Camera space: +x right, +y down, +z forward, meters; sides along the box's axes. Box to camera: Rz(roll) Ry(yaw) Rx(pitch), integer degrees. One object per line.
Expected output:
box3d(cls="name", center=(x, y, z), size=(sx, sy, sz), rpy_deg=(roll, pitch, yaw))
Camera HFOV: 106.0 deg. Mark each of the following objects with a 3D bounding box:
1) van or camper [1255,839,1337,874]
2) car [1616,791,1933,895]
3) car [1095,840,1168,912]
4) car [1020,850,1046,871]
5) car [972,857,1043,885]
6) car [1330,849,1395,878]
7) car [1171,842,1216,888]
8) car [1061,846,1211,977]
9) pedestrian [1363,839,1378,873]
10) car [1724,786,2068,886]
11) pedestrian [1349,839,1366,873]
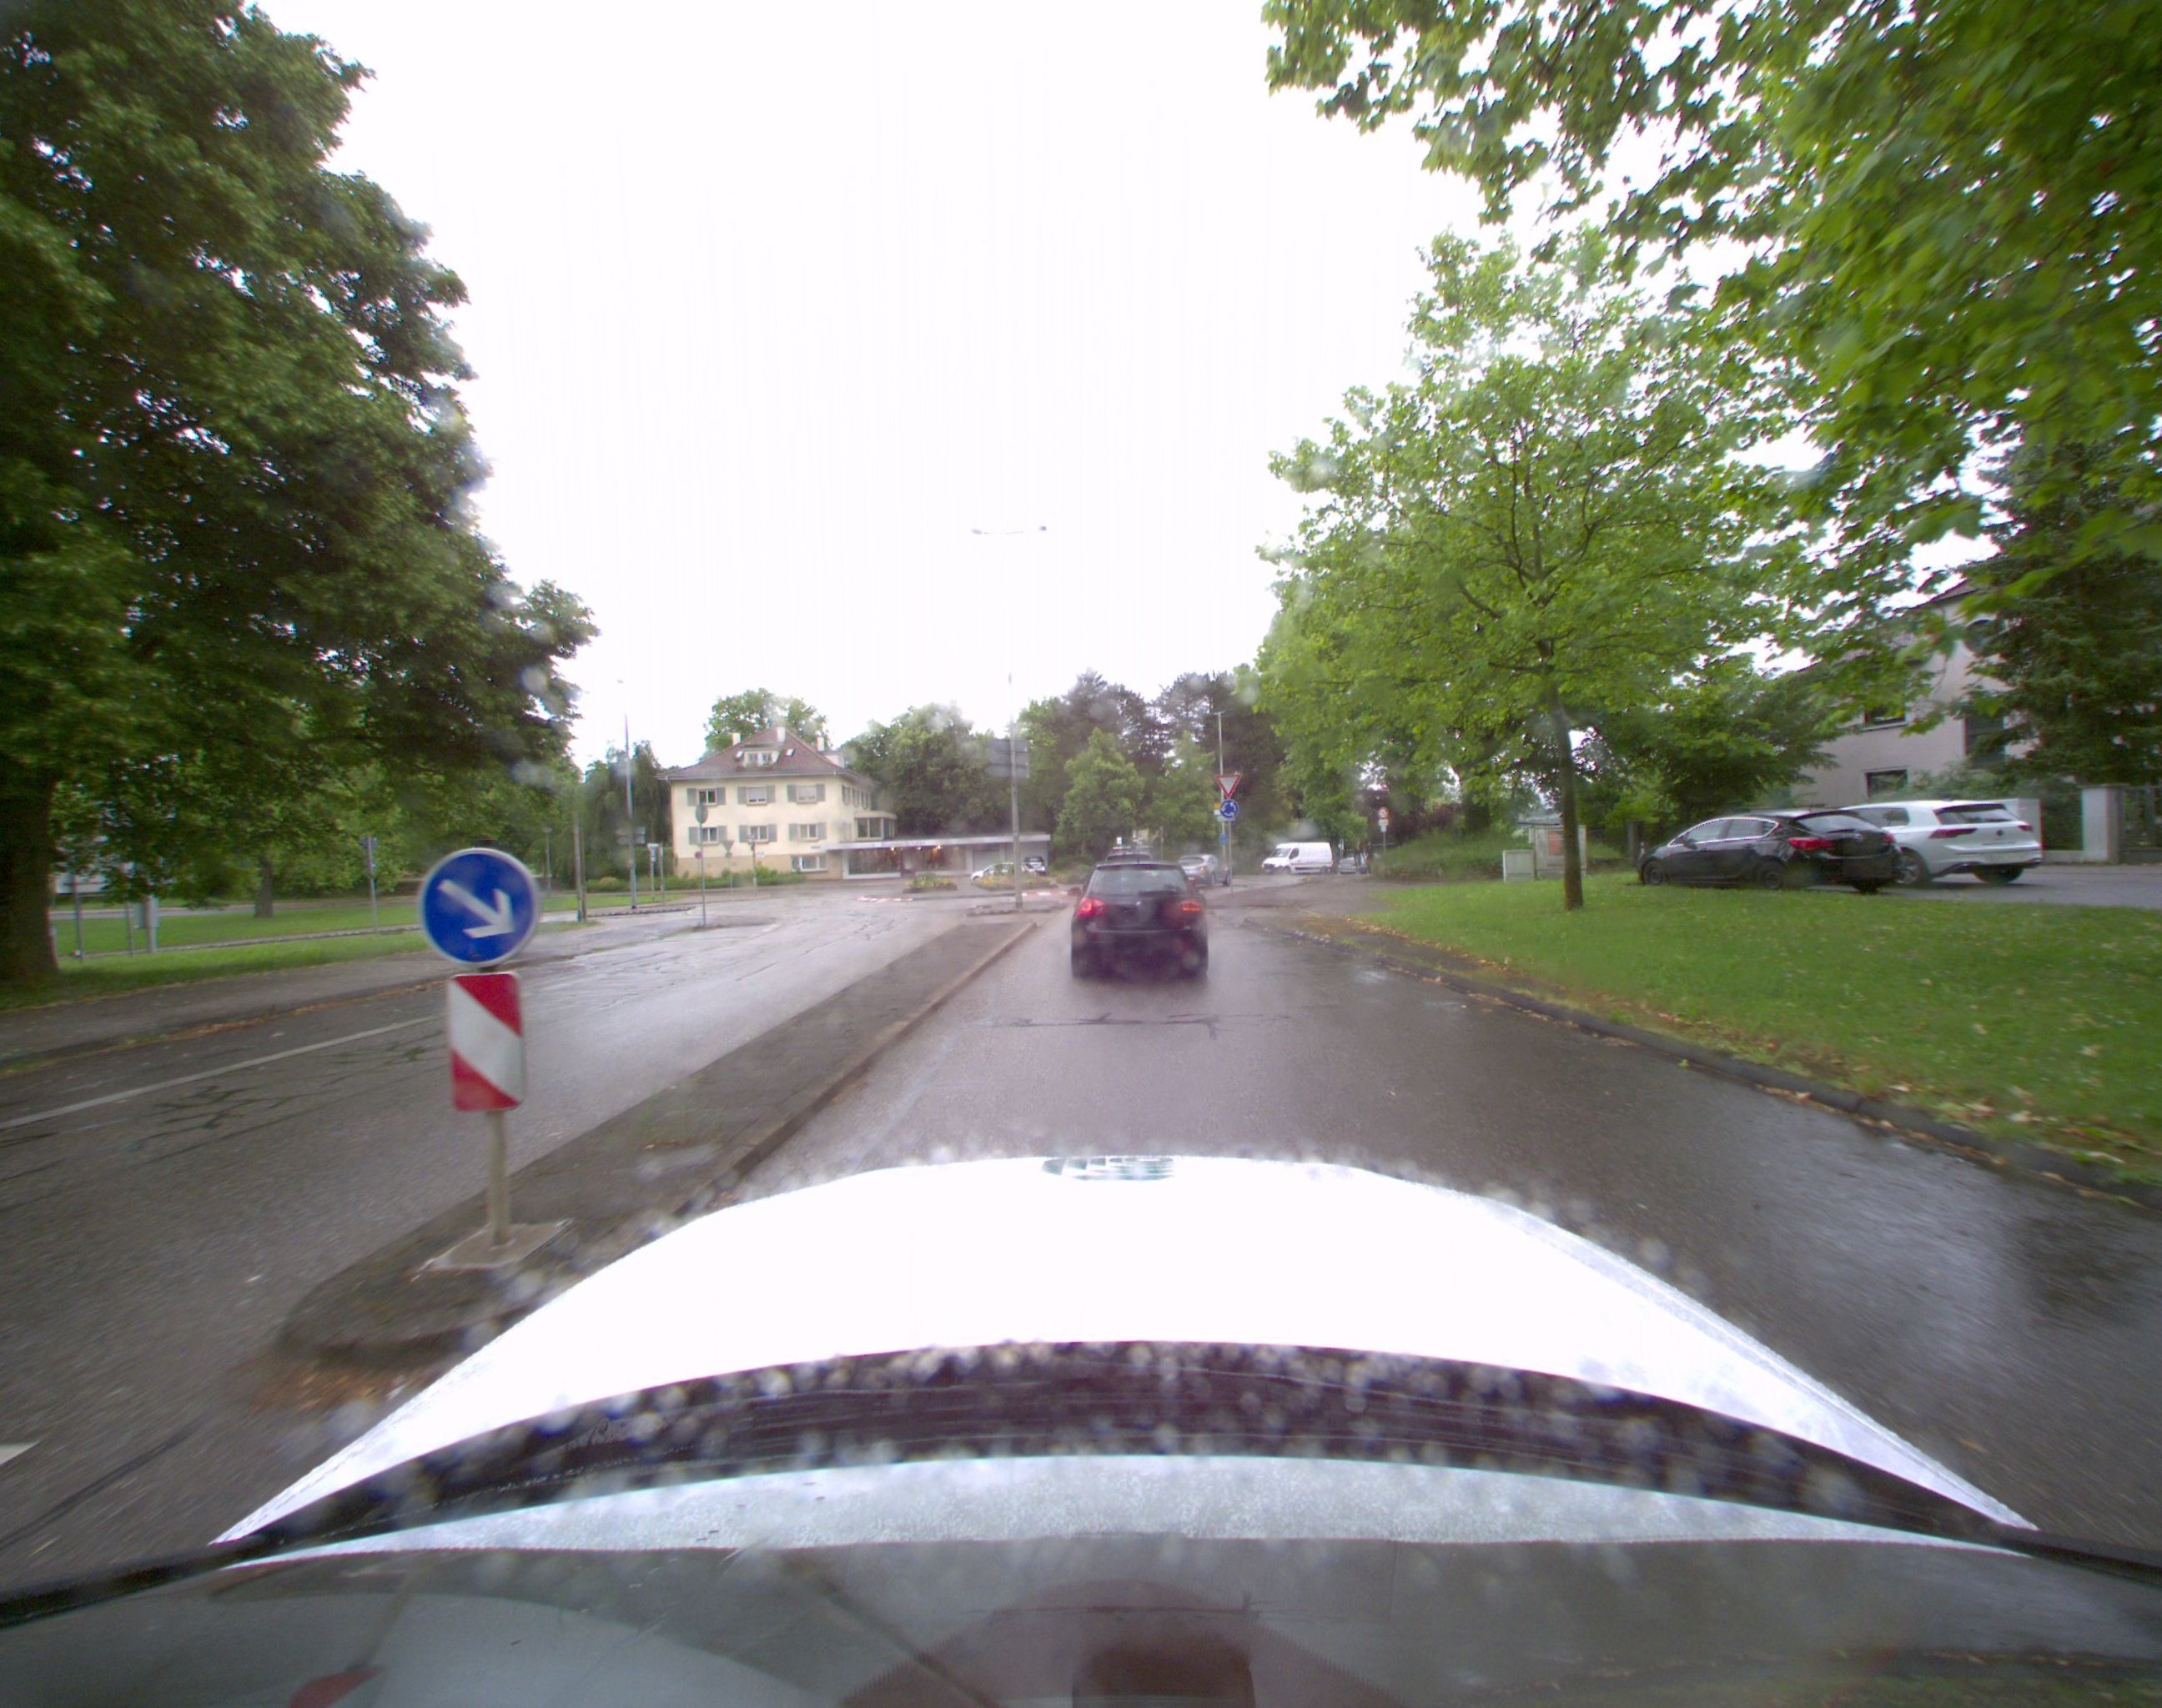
box3d(cls="van or camper", center=(15.424, 0.187, 58.339), size=(5.684, 2.378, 2.180), rpy_deg=(0, -1, -29))
box3d(cls="car", center=(12.168, -0.148, 14.814), size=(1.759, 1.471, 4.597), rpy_deg=(-4, -1, 0))
box3d(cls="car", center=(1.367, 0.600, 23.553), size=(1.759, 1.801, 4.245), rpy_deg=(-3, -1, 0))
box3d(cls="car", center=(-3.786, 0.521, 63.303), size=(1.810, 1.486, 3.823), rpy_deg=(-3, 0, -6))
box3d(cls="car", center=(-4.756, 1.085, 52.498), size=(4.091, 1.741, 2.012), rpy_deg=(-1, -1, 27))
box3d(cls="car", center=(17.107, 0.542, 49.427), size=(4.055, 1.684, 1.976), rpy_deg=(0, -1, -43))
box3d(cls="car", center=(4.877, 0.457, 35.809), size=(1.756, 1.801, 4.253), rpy_deg=(-3, -1, 6))
box3d(cls="car", center=(0.885, 0.696, 11.666), size=(1.755, 1.538, 4.008), rpy_deg=(-1, 0, 7))
box3d(cls="pedestrian", center=(14.701, 0.099, 41.353), size=(0.629, 1.713, 0.532), rpy_deg=(-1, -1, 17))
box3d(cls="car", center=(14.619, -0.258, 15.076), size=(1.840, 1.471, 4.423), rpy_deg=(-3, -1, -1))
box3d(cls="pedestrian", center=(13.852, 0.114, 40.860), size=(0.529, 1.713, 0.633), rpy_deg=(-1, -1, -13))
